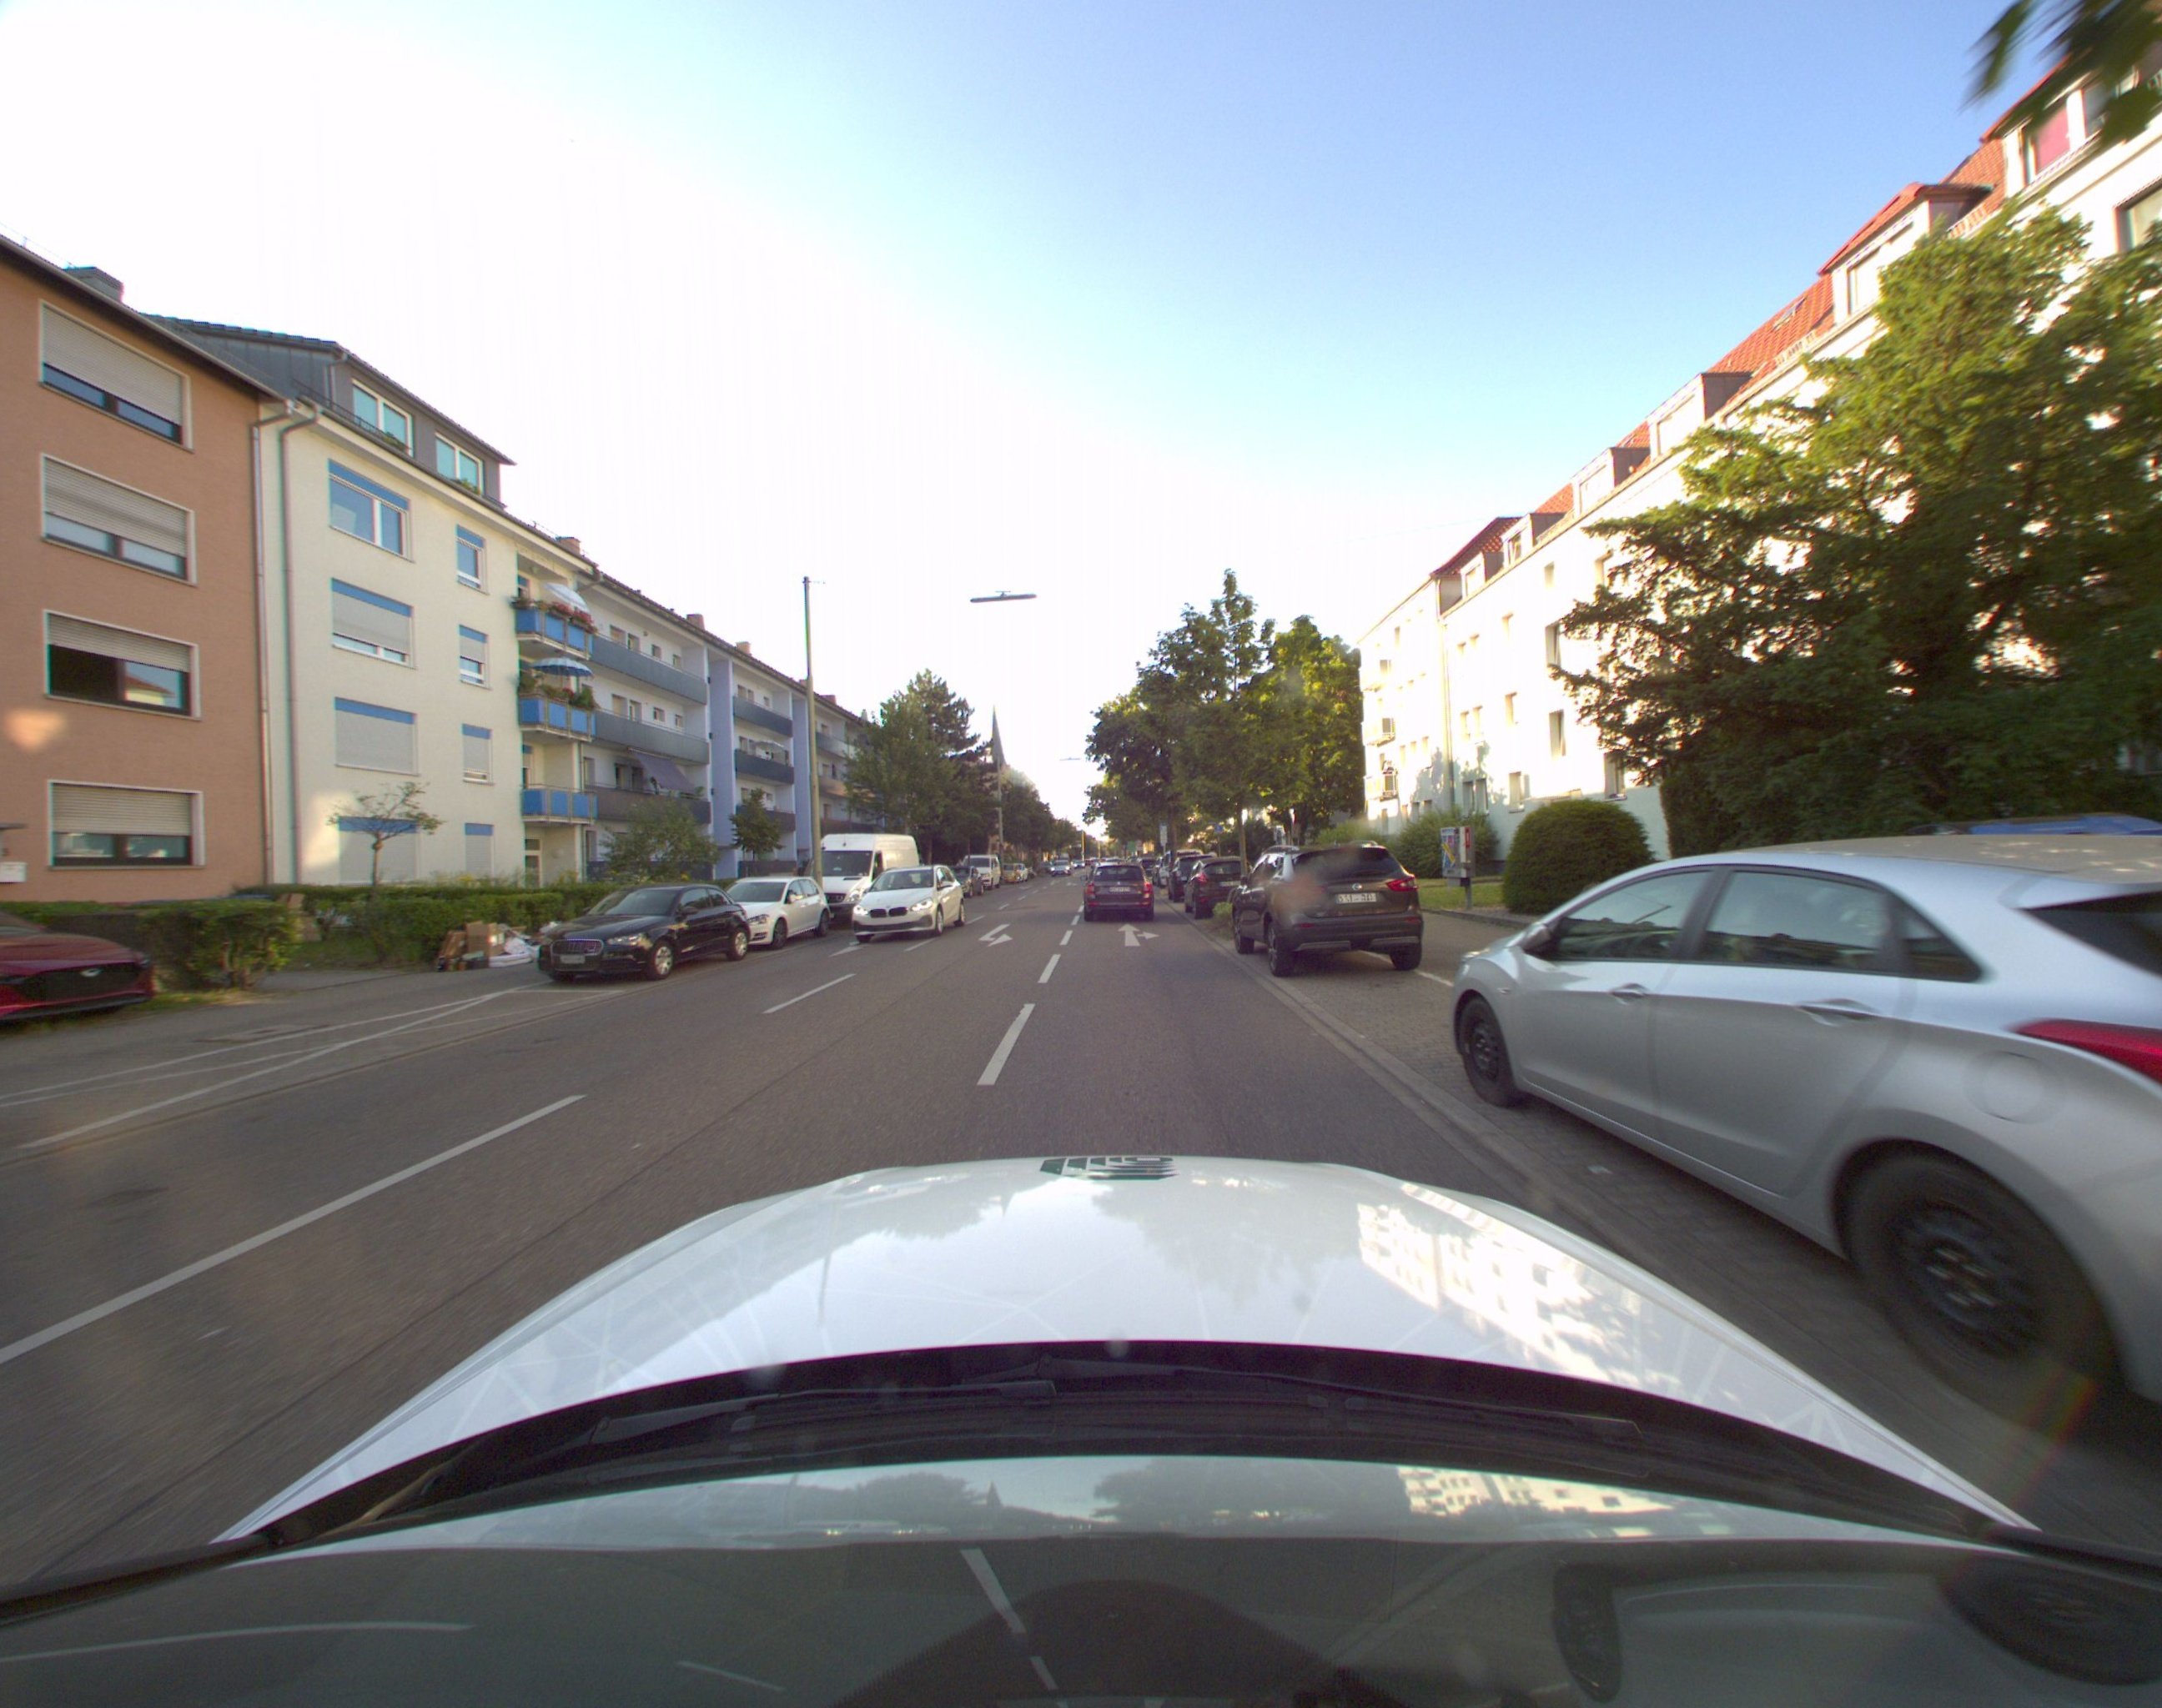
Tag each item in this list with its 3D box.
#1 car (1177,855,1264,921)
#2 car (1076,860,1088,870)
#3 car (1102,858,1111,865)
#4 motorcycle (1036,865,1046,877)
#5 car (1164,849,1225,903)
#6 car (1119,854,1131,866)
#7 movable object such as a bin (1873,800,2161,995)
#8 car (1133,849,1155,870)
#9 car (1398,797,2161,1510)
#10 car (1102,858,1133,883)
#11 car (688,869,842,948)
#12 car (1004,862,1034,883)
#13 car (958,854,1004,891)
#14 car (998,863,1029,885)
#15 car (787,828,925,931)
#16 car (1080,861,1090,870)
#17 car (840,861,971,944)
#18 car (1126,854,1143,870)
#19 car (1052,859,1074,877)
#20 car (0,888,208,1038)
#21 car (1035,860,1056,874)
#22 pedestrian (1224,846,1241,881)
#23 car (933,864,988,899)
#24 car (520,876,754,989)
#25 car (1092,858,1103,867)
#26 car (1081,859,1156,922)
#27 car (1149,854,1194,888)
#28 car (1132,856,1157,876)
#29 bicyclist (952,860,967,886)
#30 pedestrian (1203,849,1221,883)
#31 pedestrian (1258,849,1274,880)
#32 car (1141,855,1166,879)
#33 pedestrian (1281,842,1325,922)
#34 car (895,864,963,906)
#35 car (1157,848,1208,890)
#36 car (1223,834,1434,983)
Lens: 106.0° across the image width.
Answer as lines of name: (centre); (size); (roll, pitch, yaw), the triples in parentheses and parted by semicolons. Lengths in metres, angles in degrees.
car: (3.520, 0.812, 21.186); (1.607, 1.466, 3.960); (-3, -1, 2)
car: (0.226, 1.755, 135.762); (1.733, 1.479, 4.310); (-5, -1, 1)
car: (5.565, 1.668, 180.298); (1.641, 1.599, 3.645); (-2, -1, -3)
motorcycle: (-4.206, 1.729, 85.105); (0.736, 1.204, 2.144); (0, -1, 5)
car: (3.883, 0.741, 28.489); (1.747, 1.663, 4.256); (-3, -1, 4)
car: (6.734, 0.941, 125.205); (1.747, 1.806, 4.002); (0, -1, 2)
movable object such as a bin: (8.125, 0.359, 7.098); (1.259, 1.492, 1.143); (-4, -1, 11)
car: (5.919, 0.533, 76.941); (1.908, 1.860, 5.638); (-2, -1, 4)
car: (3.134, 0.613, 3.684); (1.712, 1.494, 4.394); (-2, 0, 1)
car: (2.271, 1.044, 51.639); (1.885, 1.506, 3.790); (2, -2, 1)
car: (-6.871, 1.119, 18.192); (1.700, 1.492, 4.060); (1, 0, 2)
car: (-4.757, 1.412, 63.134); (1.773, 1.494, 3.975); (0, 0, 4)
car: (-5.773, 1.038, 47.644); (1.862, 2.031, 5.302); (-1, -1, 1)
car: (-4.796, 1.397, 58.044); (1.611, 1.480, 3.876); (0, 0, 4)
car: (-6.479, 0.676, 24.494); (1.986, 2.616, 7.107); (-1, 0, 1)
car: (0.818, 2.408, 173.519); (1.989, 1.750, 3.995); (-2, -1, -3)
car: (-3.855, 1.010, 18.654); (1.873, 1.543, 4.268); (-4, 0, 1)
car: (5.872, 0.882, 89.515); (1.746, 1.715, 4.004); (0, 0, 4)
car: (-1.726, 1.313, 78.366); (1.774, 1.494, 3.973); (-5, -1, 2)
car: (-12.644, 1.118, 8.985); (3.971, 1.413, 1.917); (0, 0, 2)
car: (-3.941, 1.416, 91.068); (1.773, 1.480, 4.037); (0, 0, 4)
pedestrian: (8.400, 0.526, 45.228); (0.793, 1.861, 0.954); (-3, -1, 13)
car: (-5.726, 1.272, 39.045); (1.685, 1.483, 4.148); (-2, -1, 4)
car: (-6.931, 1.143, 13.225); (1.606, 1.473, 3.814); (0, 0, 2)
car: (2.656, 1.385, 131.708); (1.776, 1.480, 3.969); (0, 0, -1)
car: (1.007, 0.878, 21.176); (1.746, 1.492, 4.004); (0, 0, 4)
car: (4.651, 0.861, 42.421); (1.749, 1.557, 4.251); (-3, 0, 0)
car: (5.165, 1.007, 66.720); (1.748, 1.557, 4.104); (0, -1, 1)
bicyclist: (-7.598, 1.196, 51.113); (0.600, 1.593, 0.942); (-2, -1, 9)
pedestrian: (7.380, 0.662, 45.960); (0.746, 1.861, 1.068); (-3, -1, 1)
pedestrian: (10.587, 0.602, 46.671); (0.793, 1.721, 0.746); (-3, -1, 10)
car: (5.329, 0.961, 60.503); (1.746, 1.686, 4.256); (0, 0, 4)
pedestrian: (4.824, 0.600, 17.740); (0.784, 1.700, 0.809); (-1, -1, 6)
car: (-6.239, 1.228, 33.877); (1.665, 1.543, 4.477); (-2, -1, 4)
car: (4.637, 0.652, 37.663); (1.794, 1.808, 4.423); (0, 0, 0)
car: (3.183, 0.635, 11.336); (1.712, 1.601, 4.097); (-3, -1, 1)
